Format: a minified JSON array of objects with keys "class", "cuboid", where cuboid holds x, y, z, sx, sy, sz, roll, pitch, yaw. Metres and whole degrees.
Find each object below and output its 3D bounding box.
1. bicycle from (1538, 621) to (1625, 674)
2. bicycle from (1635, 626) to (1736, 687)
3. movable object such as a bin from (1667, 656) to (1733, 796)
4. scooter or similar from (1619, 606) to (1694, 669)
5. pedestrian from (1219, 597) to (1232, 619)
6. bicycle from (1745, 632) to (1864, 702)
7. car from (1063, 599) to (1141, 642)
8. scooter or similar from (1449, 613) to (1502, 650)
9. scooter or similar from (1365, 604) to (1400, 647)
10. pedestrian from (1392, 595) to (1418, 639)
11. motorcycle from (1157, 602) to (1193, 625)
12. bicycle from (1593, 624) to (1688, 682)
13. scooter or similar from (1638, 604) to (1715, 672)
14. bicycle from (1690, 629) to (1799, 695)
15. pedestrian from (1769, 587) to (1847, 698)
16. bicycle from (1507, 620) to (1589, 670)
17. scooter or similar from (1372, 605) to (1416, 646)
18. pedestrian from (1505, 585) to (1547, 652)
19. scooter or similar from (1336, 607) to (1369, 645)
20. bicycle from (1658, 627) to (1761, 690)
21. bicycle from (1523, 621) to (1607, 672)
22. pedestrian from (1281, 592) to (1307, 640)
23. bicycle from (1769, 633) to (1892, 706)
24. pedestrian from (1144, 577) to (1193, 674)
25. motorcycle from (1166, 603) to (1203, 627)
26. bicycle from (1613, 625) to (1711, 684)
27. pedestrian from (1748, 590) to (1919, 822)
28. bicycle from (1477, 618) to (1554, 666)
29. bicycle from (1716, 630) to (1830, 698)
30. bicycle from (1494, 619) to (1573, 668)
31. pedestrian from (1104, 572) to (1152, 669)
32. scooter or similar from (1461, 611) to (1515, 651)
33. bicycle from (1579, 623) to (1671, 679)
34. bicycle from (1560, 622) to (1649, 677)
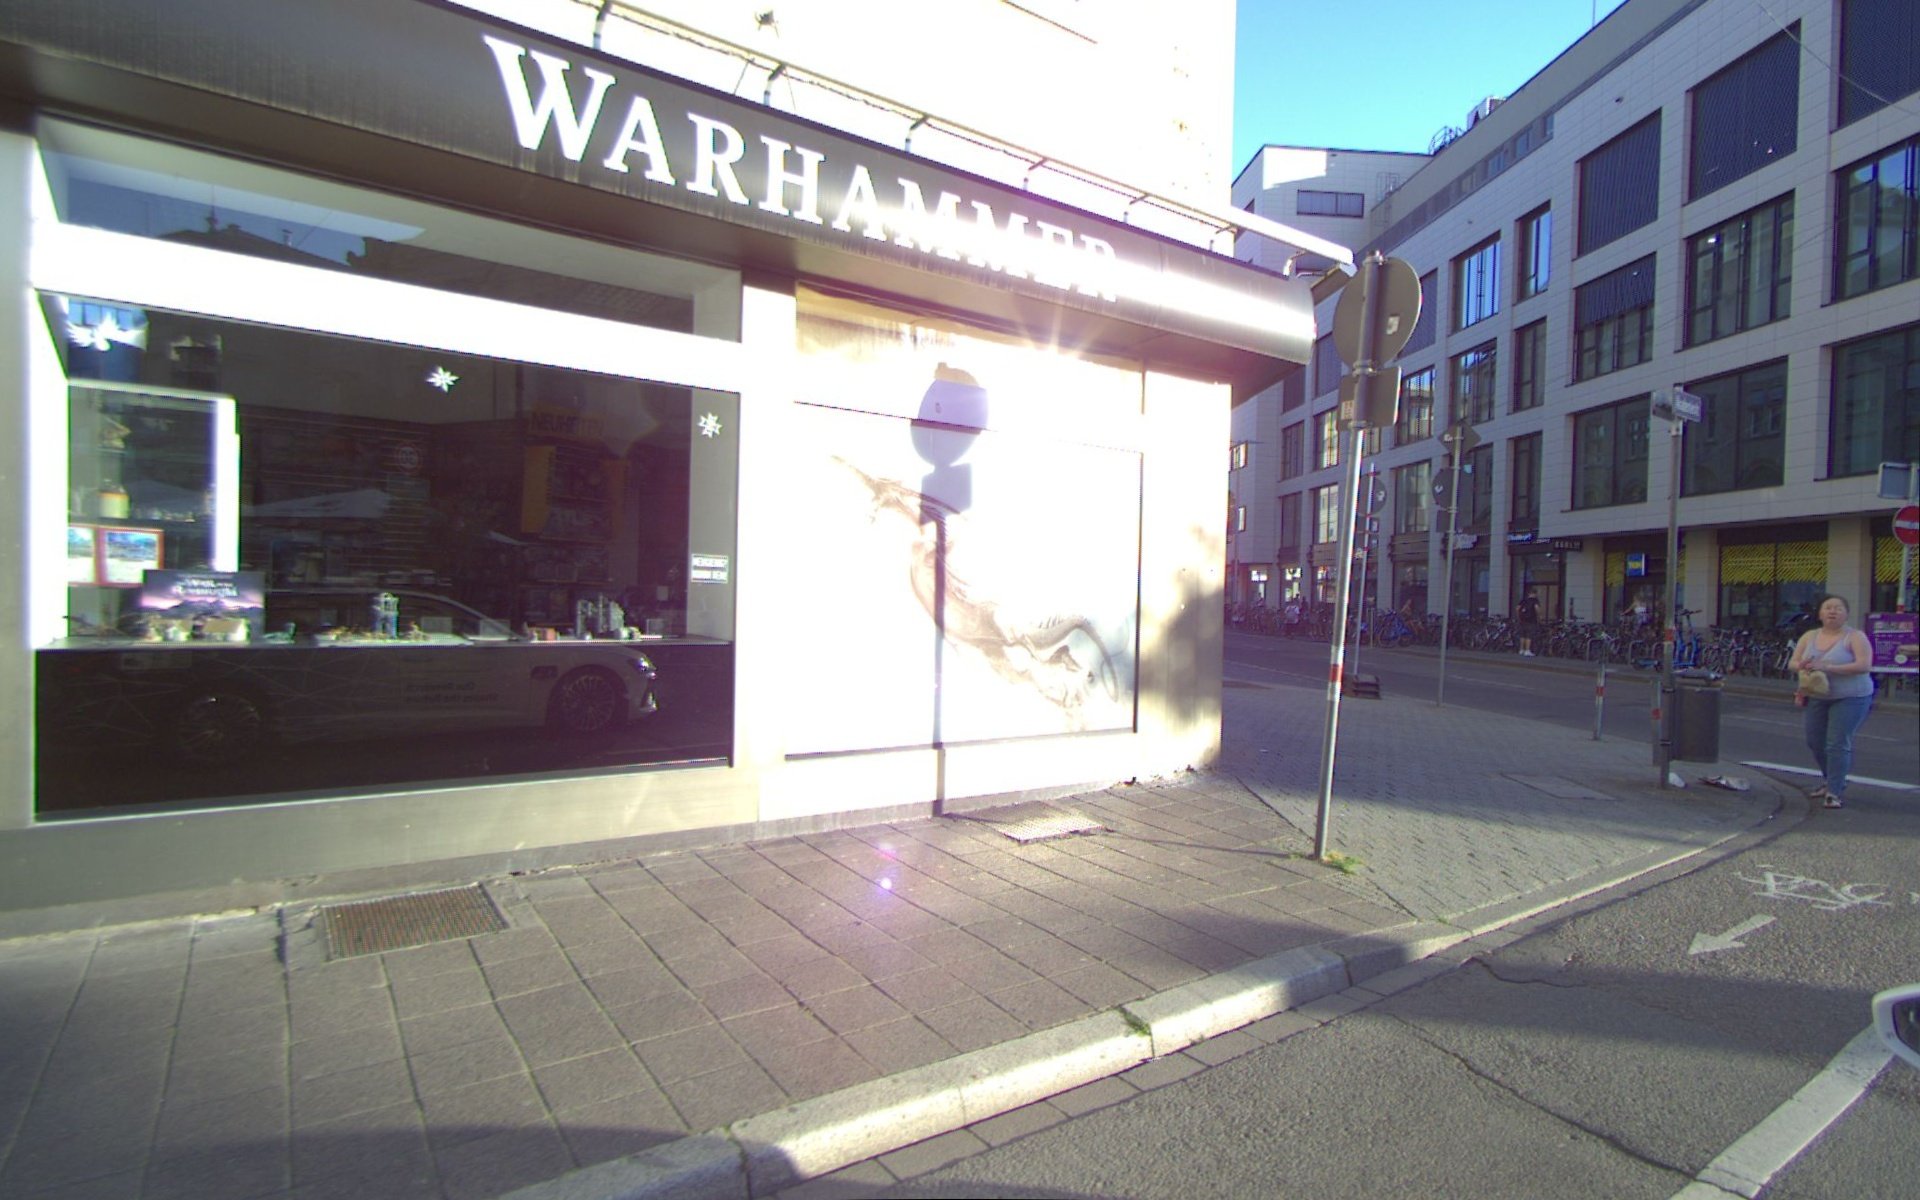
[{"class":"bicycle","cuboid":[16.070,1.232,25.976,1.941,1.271,0.513,2,1,-5]},{"class":"bicycle","cuboid":[16.247,1.269,22.497,1.941,1.271,0.513,2,1,-5]},{"class":"movable object such as a bin","cuboid":[6.015,1.008,8.163,0.355,1.078,0.354,2,1,45]},{"class":"scooter or similar","cuboid":[14.127,0.756,20.370,1.247,1.228,0.387,2,1,-5]},{"class":"pedestrian","cuboid":[18.093,0.548,68.440,0.671,1.444,0.644,1,1,-5]},{"class":"bicycle","cuboid":[16.428,1.301,19.554,1.941,1.271,0.513,2,1,-5]},{"class":"car","cuboid":[5.069,0.704,36.321,1.829,1.409,3.996,1,0,-6]},{"class":"scooter or similar","cuboid":[14.288,0.862,27.841,1.247,0.954,0.387,2,1,-5]},{"class":"scooter or similar","cuboid":[13.015,0.771,30.969,0.506,1.259,1.270,2,1,-1]},{"class":"pedestrian","cuboid":[17.607,0.677,39.743,0.671,1.718,0.644,1,1,-5]},{"class":"motorcycle","cuboid":[12.330,0.771,57.516,1.945,1.271,0.512,2,1,-13]},{"class":"bicycle","cuboid":[16.176,1.254,23.887,1.941,1.271,0.513,2,1,-5]},{"class":"scooter or similar","cuboid":[14.106,0.749,19.780,1.247,1.277,0.387,2,1,-5]},{"class":"bicycle","cuboid":[16.427,1.288,21.040,1.941,1.271,0.513,2,1,-5]},{"class":"pedestrian","cuboid":[13.333,0.647,15.797,0.860,1.680,0.615,2,1,44]},{"class":"bicycle","cuboid":[15.918,1.216,27.199,1.941,1.271,0.513,2,1,-5]},{"class":"scooter or similar","cuboid":[14.106,0.824,32.670,1.247,1.259,0.387,2,1,-5]},{"class":"pedestrian","cuboid":[14.824,0.471,26.310,0.671,1.718,0.644,1,1,-1]},{"class":"scooter or similar","cuboid":[12.883,0.838,32.988,0.506,1.197,1.270,2,1,-1]},{"class":"bicycle","cuboid":[16.304,1.276,21.869,1.942,1.271,0.513,2,1,-7]},{"class":"bicycle","cuboid":[16.007,1.225,26.574,1.941,1.271,0.513,2,1,-5]},{"class":"pedestrian","cuboid":[12.325,0.578,37.084,0.671,1.718,0.644,1,1,-5]},{"class":"bicycle","cuboid":[16.439,1.306,18.981,1.941,1.271,0.513,2,1,-5]},{"class":"pedestrian","cuboid":[3.841,0.465,18.532,0.653,1.730,0.803,2,0,-4]},{"class":"motorcycle","cuboid":[12.567,0.828,56.178,1.945,1.271,0.512,2,1,-13]},{"class":"bicycle","cuboid":[16.263,1.263,23.285,1.941,1.271,0.513,2,1,-5]},{"class":"pedestrian","cuboid":[6.636,0.759,7.670,0.790,1.634,0.734,2,0,26]},{"class":"bicycle","cuboid":[15.936,1.203,28.840,1.941,1.271,0.513,2,1,-5]},{"class":"bicycle","cuboid":[16.403,1.294,20.271,1.941,1.271,0.513,2,1,-5]},{"class":"bicycle","cuboid":[15.992,1.212,28.013,1.941,1.271,0.513,2,1,-5]},{"class":"pedestrian","cuboid":[3.077,0.370,18.464,0.653,1.730,0.803,2,0,-4]},{"class":"scooter or similar","cuboid":[14.286,0.833,27.161,1.247,1.005,0.387,2,1,-5]},{"class":"bicycle","cuboid":[16.252,1.252,24.561,1.941,1.271,0.513,2,1,-5]},{"class":"bicycle","cuboid":[16.181,1.243,25.240,1.941,1.271,0.513,2,1,-5]}]
